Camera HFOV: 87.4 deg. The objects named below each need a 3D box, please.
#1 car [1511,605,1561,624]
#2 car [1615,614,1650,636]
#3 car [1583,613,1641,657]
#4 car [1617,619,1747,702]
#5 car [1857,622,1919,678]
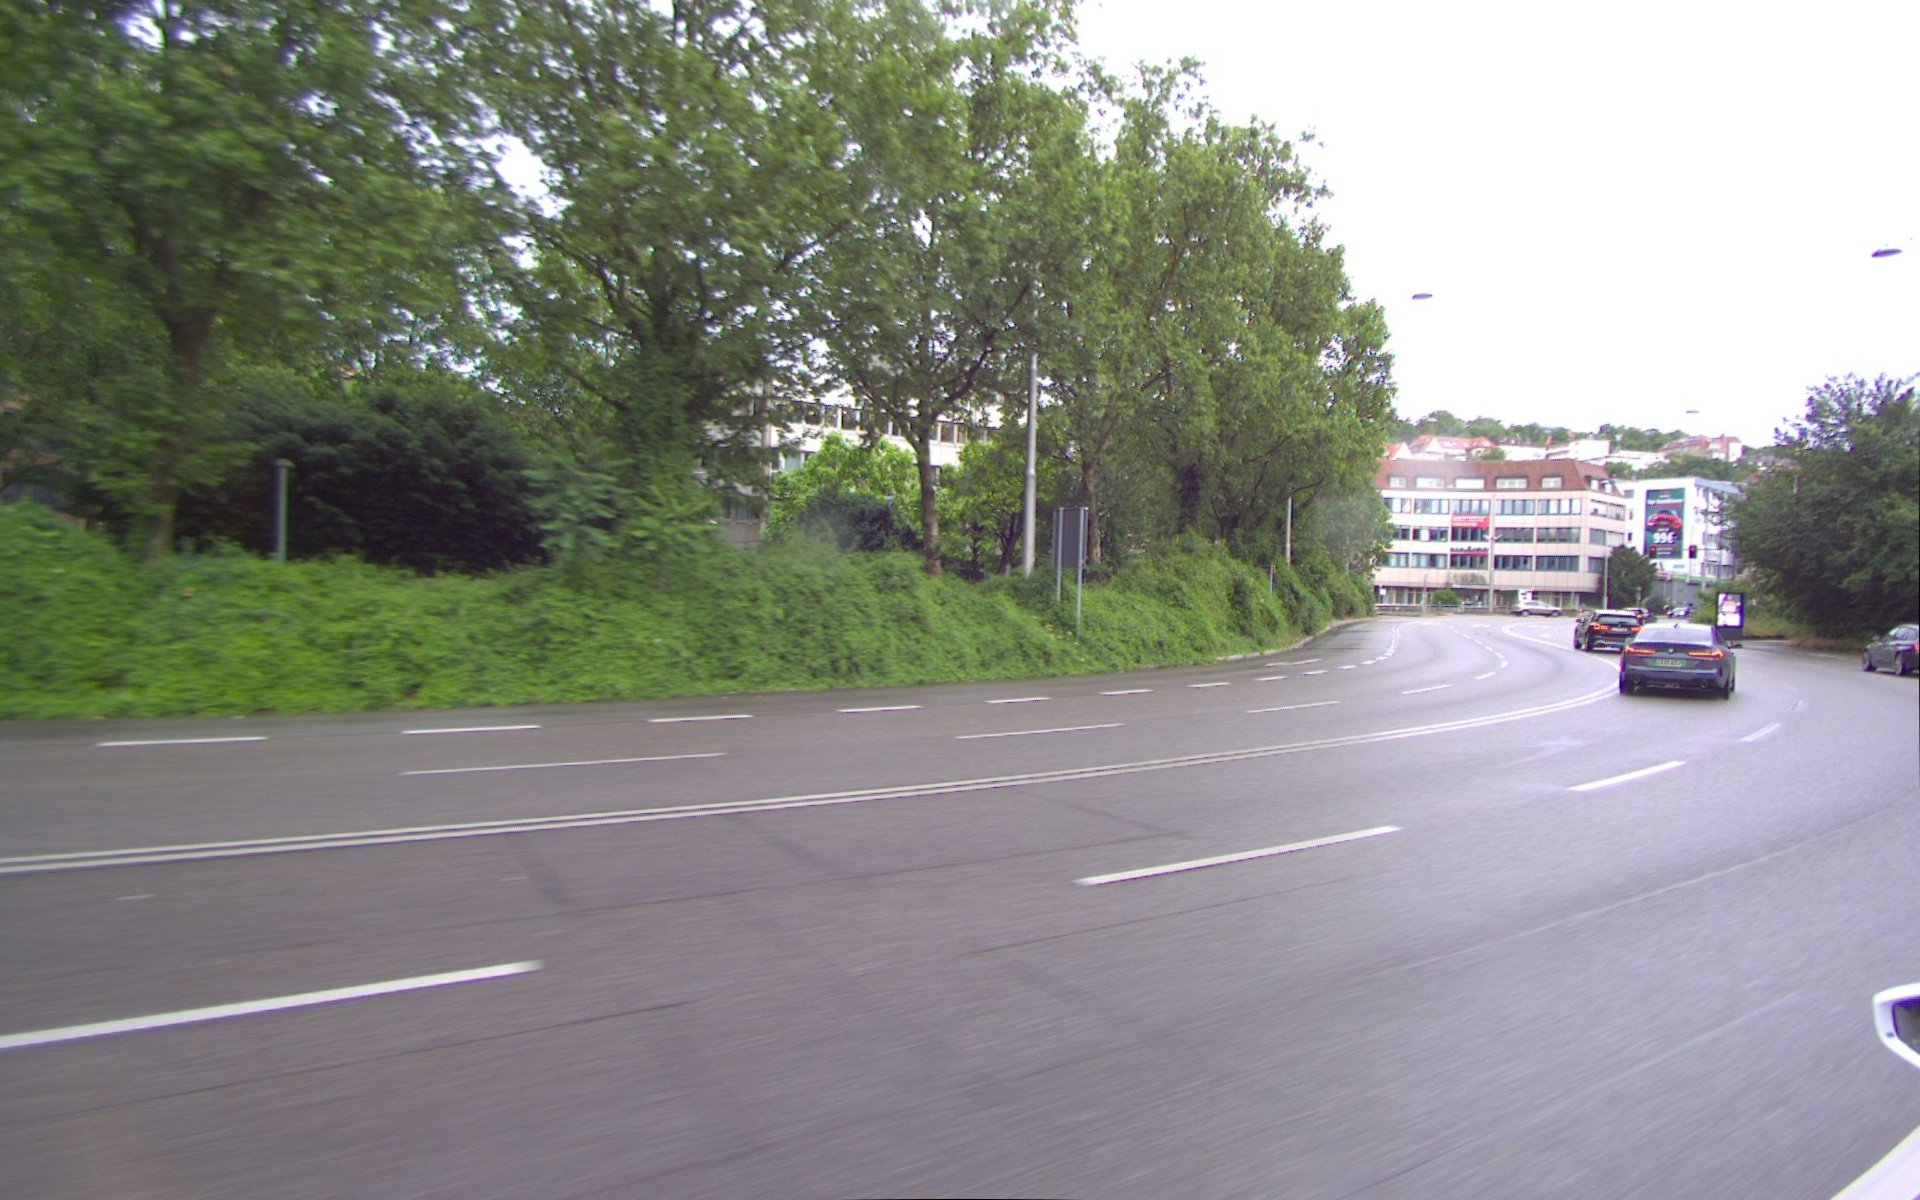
[{"bbox_3d":[56.491,1.442,98.491,3.919,1.751,1.666,1,0,15],"label":"car"},{"bbox_3d":[54.482,2.000,81.363,1.809,1.673,3.978,2,0,42],"label":"car"},{"bbox_3d":[25.657,1.339,39.635,1.732,1.607,4.403,0,-1,31],"label":"car"},{"bbox_3d":[15.037,1.159,20.821,1.647,1.434,4.514,1,1,43],"label":"car"},{"bbox_3d":[27.567,1.481,28.853,1.732,1.451,4.406,0,-4,29],"label":"car"}]
